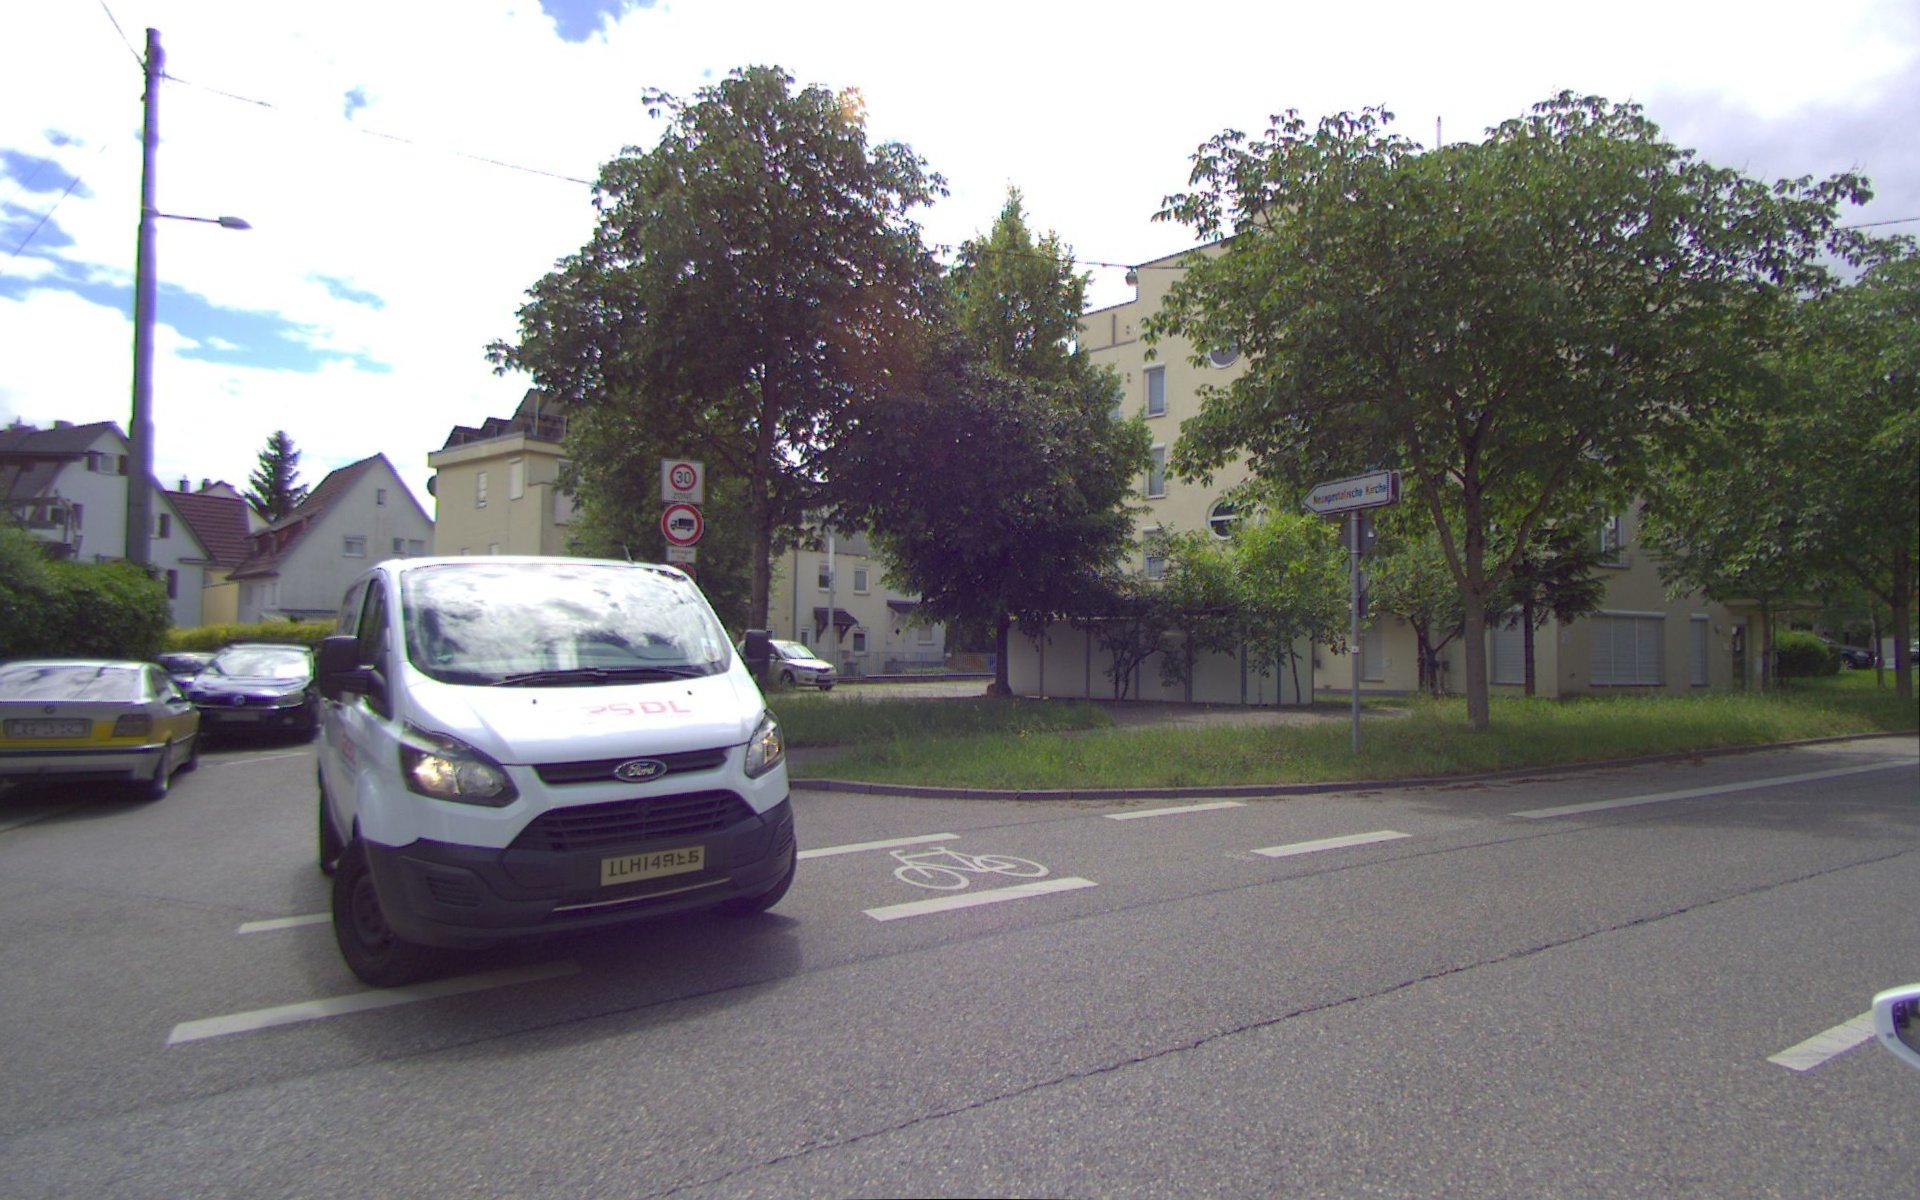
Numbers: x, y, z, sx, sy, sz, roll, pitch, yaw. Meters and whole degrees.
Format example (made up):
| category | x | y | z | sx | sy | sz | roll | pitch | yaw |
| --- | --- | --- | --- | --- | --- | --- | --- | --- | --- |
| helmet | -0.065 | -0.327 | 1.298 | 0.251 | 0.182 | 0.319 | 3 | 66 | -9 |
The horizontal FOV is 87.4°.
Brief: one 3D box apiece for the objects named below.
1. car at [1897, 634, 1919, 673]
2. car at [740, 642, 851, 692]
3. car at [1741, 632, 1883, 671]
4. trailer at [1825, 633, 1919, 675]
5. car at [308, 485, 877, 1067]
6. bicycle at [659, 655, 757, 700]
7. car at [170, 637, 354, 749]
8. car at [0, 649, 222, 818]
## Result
| category | x | y | z | sx | sy | sz | roll | pitch | yaw |
| --- | --- | --- | --- | --- | --- | --- | --- | --- | --- |
| car | 38.033 | 2.060 | 37.528 | 1.773 | 1.417 | 4.062 | 5 | -3 | -28 |
| car | -5.058 | 2.060 | 30.693 | 1.821 | 1.415 | 3.368 | 3 | -5 | -43 |
| car | 35.738 | 2.139 | 42.236 | 1.877 | 1.543 | 4.160 | 1 | -3 | -28 |
| trailer | 43.115 | 2.518 | 46.858 | 1.612 | 1.821 | 3.888 | 5 | -3 | -30 |
| car | -2.722 | 0.783 | 6.250 | 2.087 | 2.019 | 5.181 | 1 | -4 | -35 |
| bicycle | -5.466 | 1.656 | 21.743 | 2.182 | 0.871 | 0.464 | 1 | -2 | 23 |
| car | -11.189 | 1.427 | 16.394 | 1.792 | 1.569 | 3.976 | 3 | -3 | -26 |
| car | -9.412 | 1.305 | 10.948 | 1.795 | 1.432 | 3.996 | 3 | -3 | -31 |
